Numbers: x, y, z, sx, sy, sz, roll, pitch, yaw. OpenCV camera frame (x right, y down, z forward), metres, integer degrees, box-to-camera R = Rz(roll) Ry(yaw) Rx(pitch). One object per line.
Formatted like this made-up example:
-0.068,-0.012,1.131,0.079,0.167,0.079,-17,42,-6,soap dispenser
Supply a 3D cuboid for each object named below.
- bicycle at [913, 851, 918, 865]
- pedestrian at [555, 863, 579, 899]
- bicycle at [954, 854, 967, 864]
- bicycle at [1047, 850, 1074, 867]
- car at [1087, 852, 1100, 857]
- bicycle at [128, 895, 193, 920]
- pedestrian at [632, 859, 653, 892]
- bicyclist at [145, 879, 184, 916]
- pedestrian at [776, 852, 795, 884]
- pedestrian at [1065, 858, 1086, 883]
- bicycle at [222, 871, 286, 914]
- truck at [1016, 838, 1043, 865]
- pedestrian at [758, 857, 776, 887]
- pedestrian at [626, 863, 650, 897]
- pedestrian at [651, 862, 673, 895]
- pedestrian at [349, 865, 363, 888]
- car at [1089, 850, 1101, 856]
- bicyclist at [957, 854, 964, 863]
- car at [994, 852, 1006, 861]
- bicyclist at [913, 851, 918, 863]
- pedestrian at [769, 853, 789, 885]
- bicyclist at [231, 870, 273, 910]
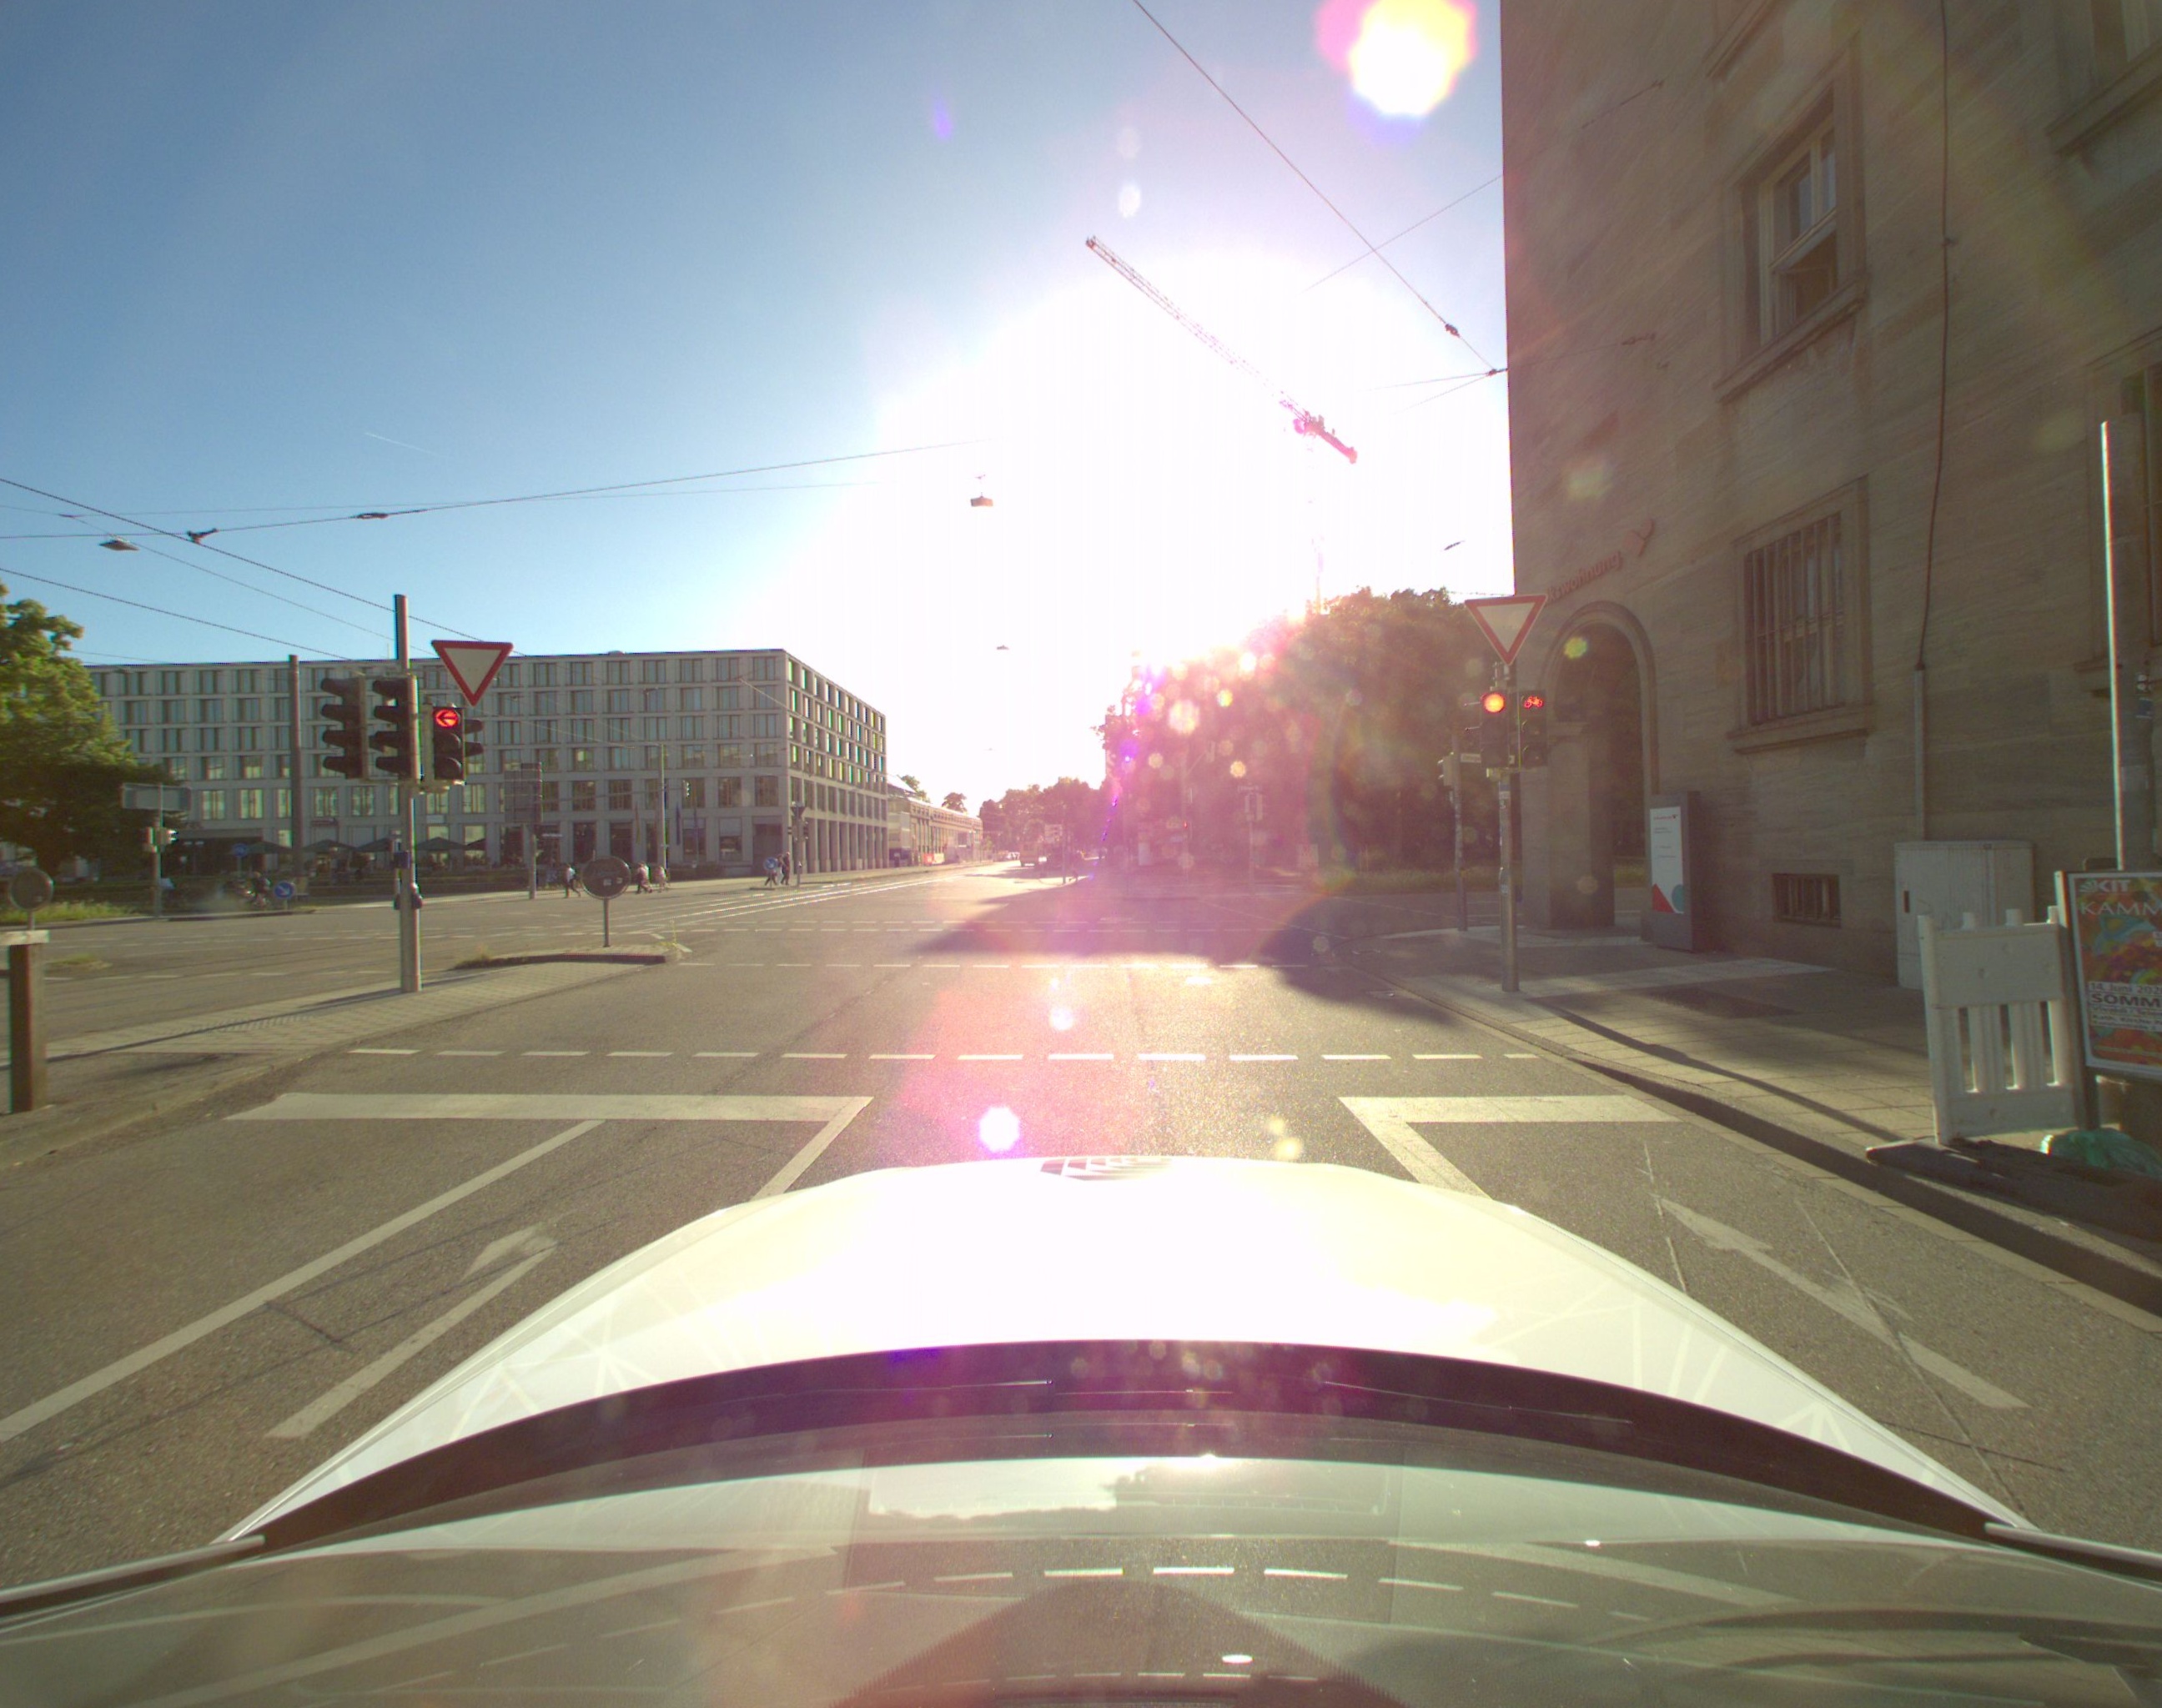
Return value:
-26.668,0.630,131.203,0.569,2.296,1.422,-2,0,0,bicycle
-27.820,1.451,44.084,0.797,1.918,0.638,-2,0,7,pedestrian
-18.556,0.836,125.196,0.684,1.511,2.958,-1,-1,17,bicycle
-2.047,0.447,81.623,2.538,1.744,1.038,0,-1,1,bicycle
3.248,0.041,211.397,3.207,1.263,1.373,0,-1,0,car
-39.514,2.296,34.967,2.059,0.933,0.574,-2,0,-3,bicycle
-24.574,1.179,45.625,0.735,1.803,0.717,-2,0,7,pedestrian
-39.371,1.861,34.979,0.972,1.560,0.574,-2,0,-3,bicyclist
-16.540,0.802,45.582,0.744,1.761,0.679,-2,-1,6,pedestrian
-0.288,0.893,43.801,0.989,1.317,0.768,-2,0,4,pedestrian
-35.529,1.640,35.000,1.898,1.735,0.595,-2,0,-11,bicycle
-5.932,-0.238,95.192,2.708,3.016,6.487,-1,0,-1,truck
-17.256,0.983,44.796,0.691,1.644,0.622,-2,0,2,pedestrian
-24.201,1.407,44.505,0.865,1.803,0.665,-2,0,7,pedestrian
-23.289,1.367,45.254,0.865,1.803,0.533,-2,0,7,pedestrian
-54.414,1.692,61.125,0.538,1.669,0.561,0,-1,-2,pedestrian
3.669,-0.218,213.645,3.207,1.588,1.445,0,-1,-3,car
-18.506,0.741,125.265,0.684,1.328,1.004,-1,-1,17,bicyclist
-15.623,0.514,156.939,1.888,1.607,4.499,-2,0,0,car
-26.666,0.493,131.266,0.569,2.024,0.762,-2,0,0,bicyclist
-15.870,0.776,42.773,0.790,1.644,0.621,-2,0,-3,pedestrian
-35.598,1.547,34.982,1.075,1.641,0.595,-2,0,-11,bicyclist
